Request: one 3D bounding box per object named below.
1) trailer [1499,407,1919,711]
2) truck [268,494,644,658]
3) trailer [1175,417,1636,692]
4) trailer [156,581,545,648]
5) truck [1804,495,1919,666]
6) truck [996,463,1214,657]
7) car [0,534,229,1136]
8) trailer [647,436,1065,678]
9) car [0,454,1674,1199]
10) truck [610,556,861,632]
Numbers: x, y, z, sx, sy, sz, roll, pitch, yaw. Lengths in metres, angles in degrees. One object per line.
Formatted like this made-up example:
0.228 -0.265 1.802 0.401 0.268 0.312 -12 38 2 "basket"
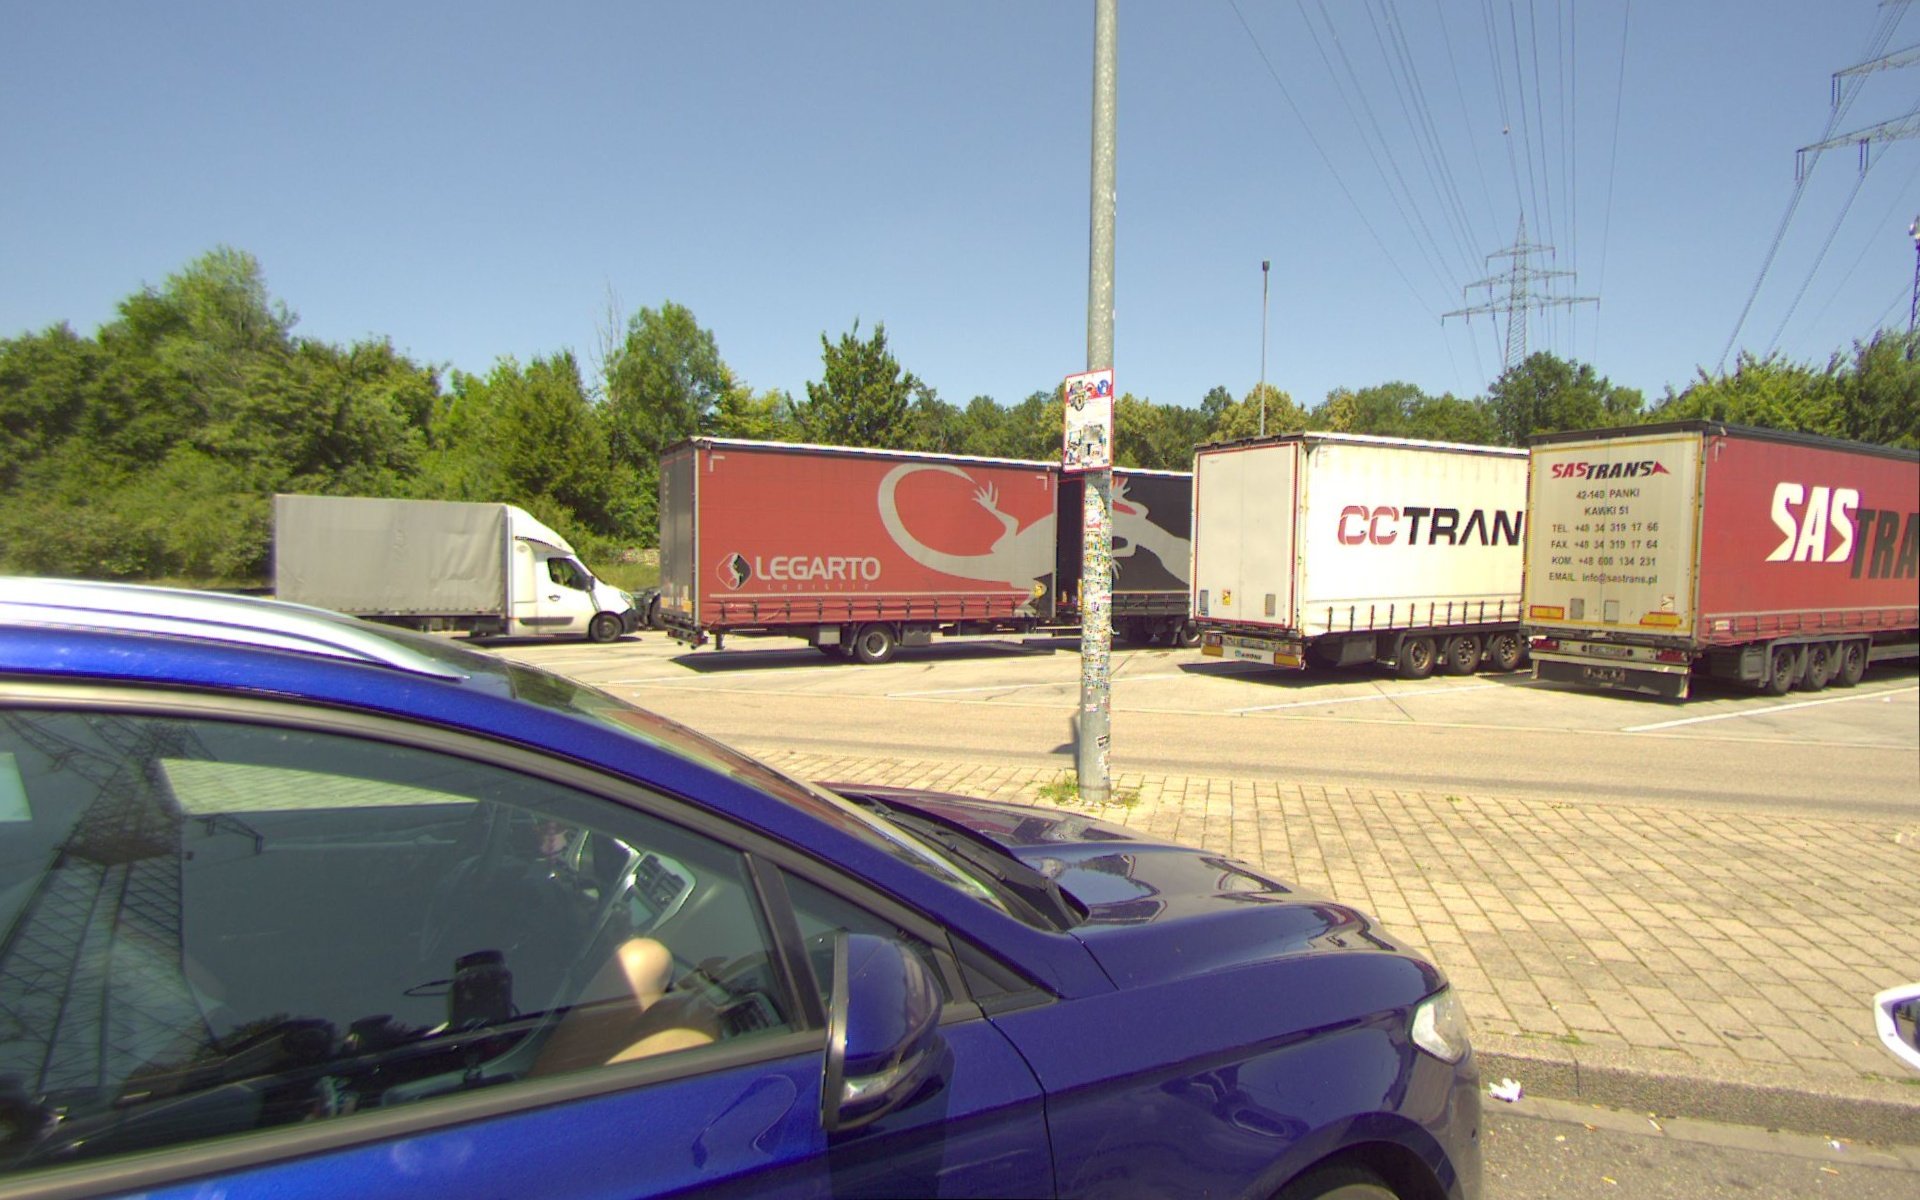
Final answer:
15.408 -0.704 18.559 13.559 4.189 2.892 -1 3 -30 "trailer"
-11.200 -0.569 22.897 7.254 3.254 2.515 -1 3 -30 "truck"
8.869 -0.820 19.323 10.049 4.267 2.714 -1 3 -30 "trailer"
-14.828 0.264 25.180 7.996 1.394 2.211 -1 3 -30 "trailer"
21.730 -0.432 22.304 5.418 3.475 2.838 -1 3 -30 "truck"
3.358 -0.902 23.356 4.273 4.072 2.689 -1 3 -30 "truck"
-4.549 0.579 2.249 4.592 1.554 1.726 0 1 -33 "car"
-1.924 -0.828 20.261 7.996 4.101 2.696 -1 3 -30 "trailer"
-0.976 0.651 1.464 4.592 1.502 1.727 0 0 -33 "car"
-6.480 -0.158 29.520 6.961 2.040 1.984 0 0 -30 "truck"
